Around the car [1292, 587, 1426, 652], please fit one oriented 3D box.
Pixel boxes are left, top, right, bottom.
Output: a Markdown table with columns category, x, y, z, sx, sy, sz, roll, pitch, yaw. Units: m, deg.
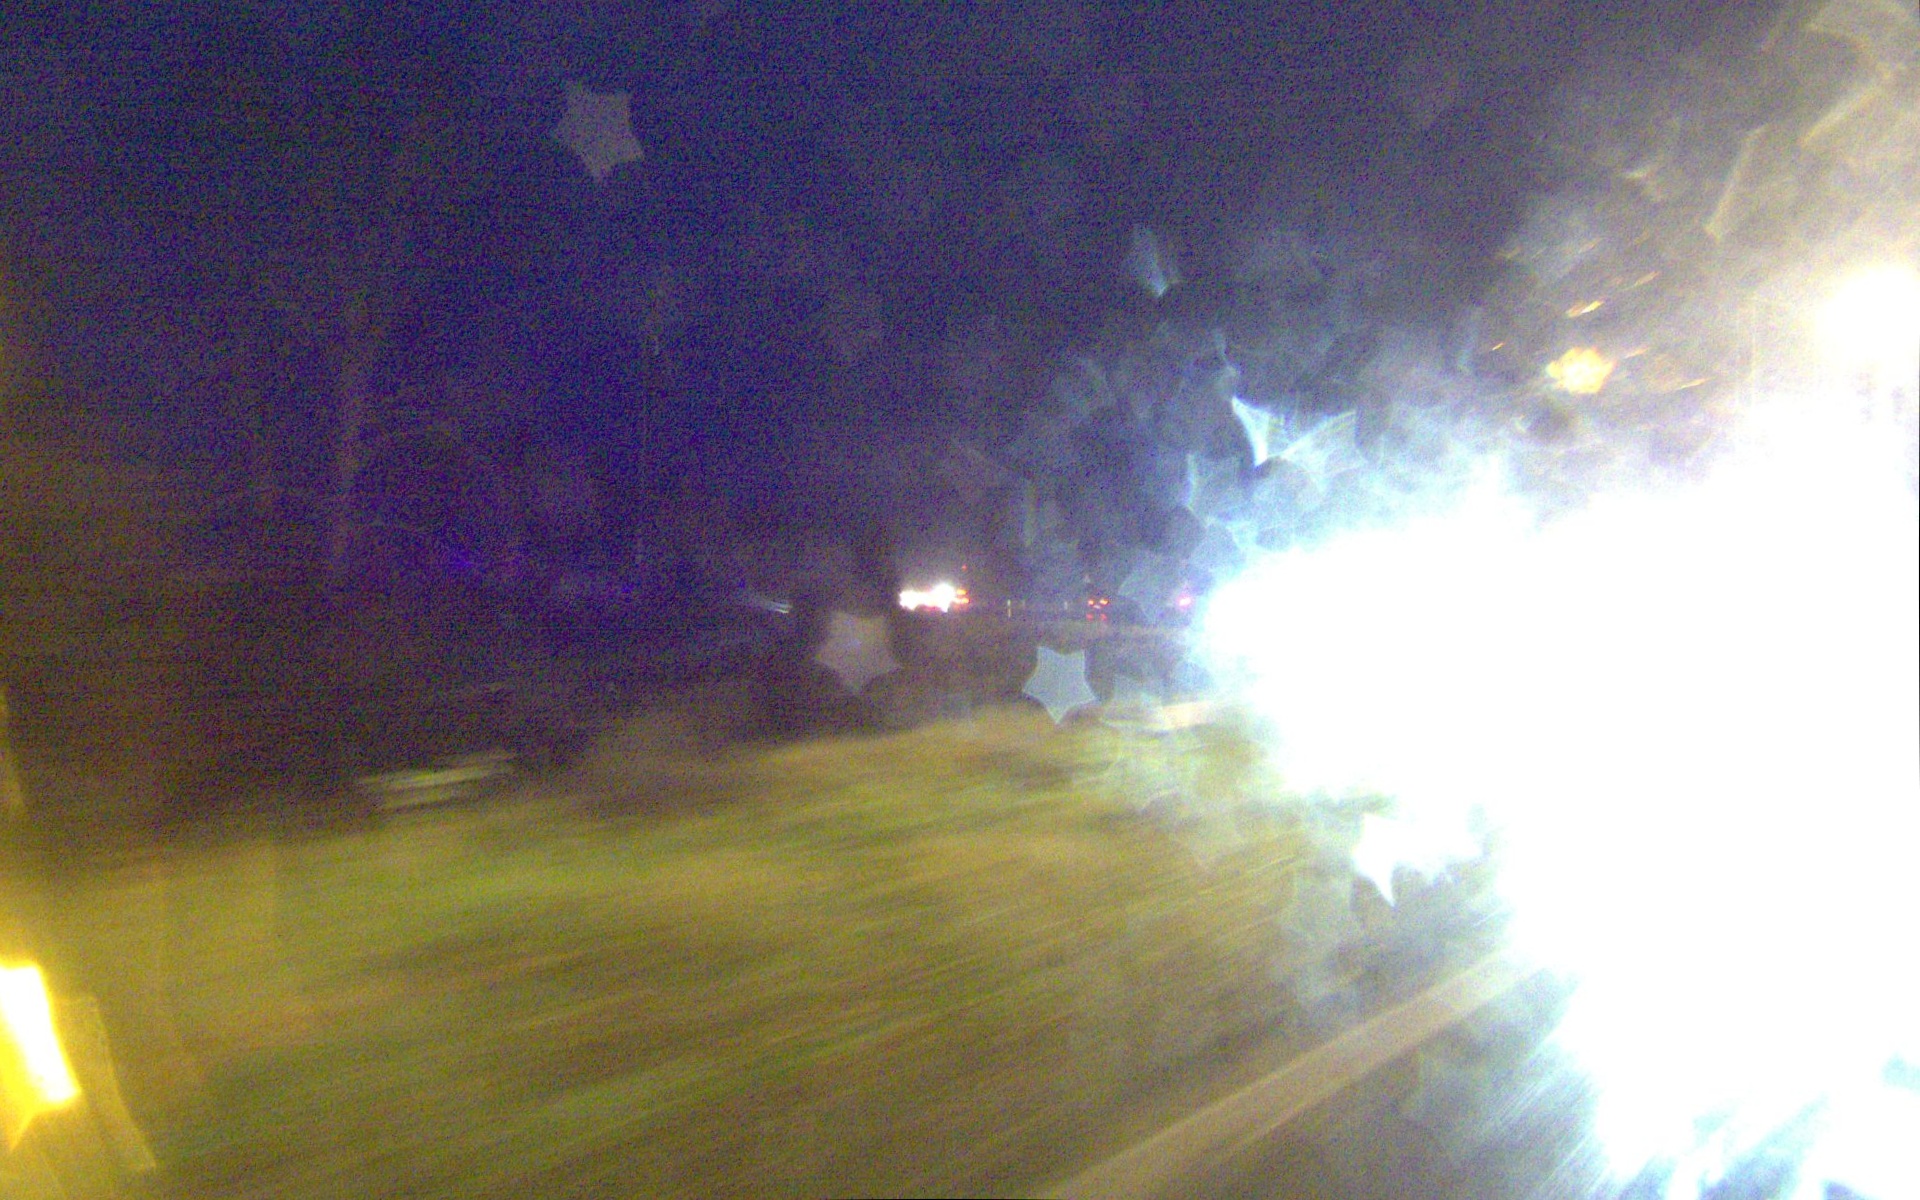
| category | x | y | z | sx | sy | sz | roll | pitch | yaw |
| --- | --- | --- | --- | --- | --- | --- | --- | --- | --- |
| car | 10.766 | 0.500 | 27.618 | 1.654 | 1.552 | 3.992 | -3 | 0 | -7 |

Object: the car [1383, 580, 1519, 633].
| category | x | y | z | sx | sy | sz | roll | pitch | yaw |
| --- | --- | --- | --- | --- | --- | --- | --- | --- | --- |
| car | 17.233 | 0.199 | 35.713 | 1.811 | 1.727 | 4.136 | 0 | 0 | -24 |

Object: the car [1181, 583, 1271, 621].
| category | x | y | z | sx | sy | sz | roll | pitch | yaw |
| --- | --- | --- | --- | --- | --- | --- | --- | --- | --- |
| car | 11.120 | 0.108 | 42.608 | 1.646 | 1.463 | 4.182 | -2 | -1 | -17 |

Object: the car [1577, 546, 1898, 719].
| category | x | y | z | sx | sy | sz | roll | pitch | yaw |
| --- | --- | --- | --- | --- | --- | --- | --- | --- | --- |
| car | 10.245 | 0.361 | 13.824 | 1.976 | 1.950 | 4.347 | 0 | 0 | 16 |
